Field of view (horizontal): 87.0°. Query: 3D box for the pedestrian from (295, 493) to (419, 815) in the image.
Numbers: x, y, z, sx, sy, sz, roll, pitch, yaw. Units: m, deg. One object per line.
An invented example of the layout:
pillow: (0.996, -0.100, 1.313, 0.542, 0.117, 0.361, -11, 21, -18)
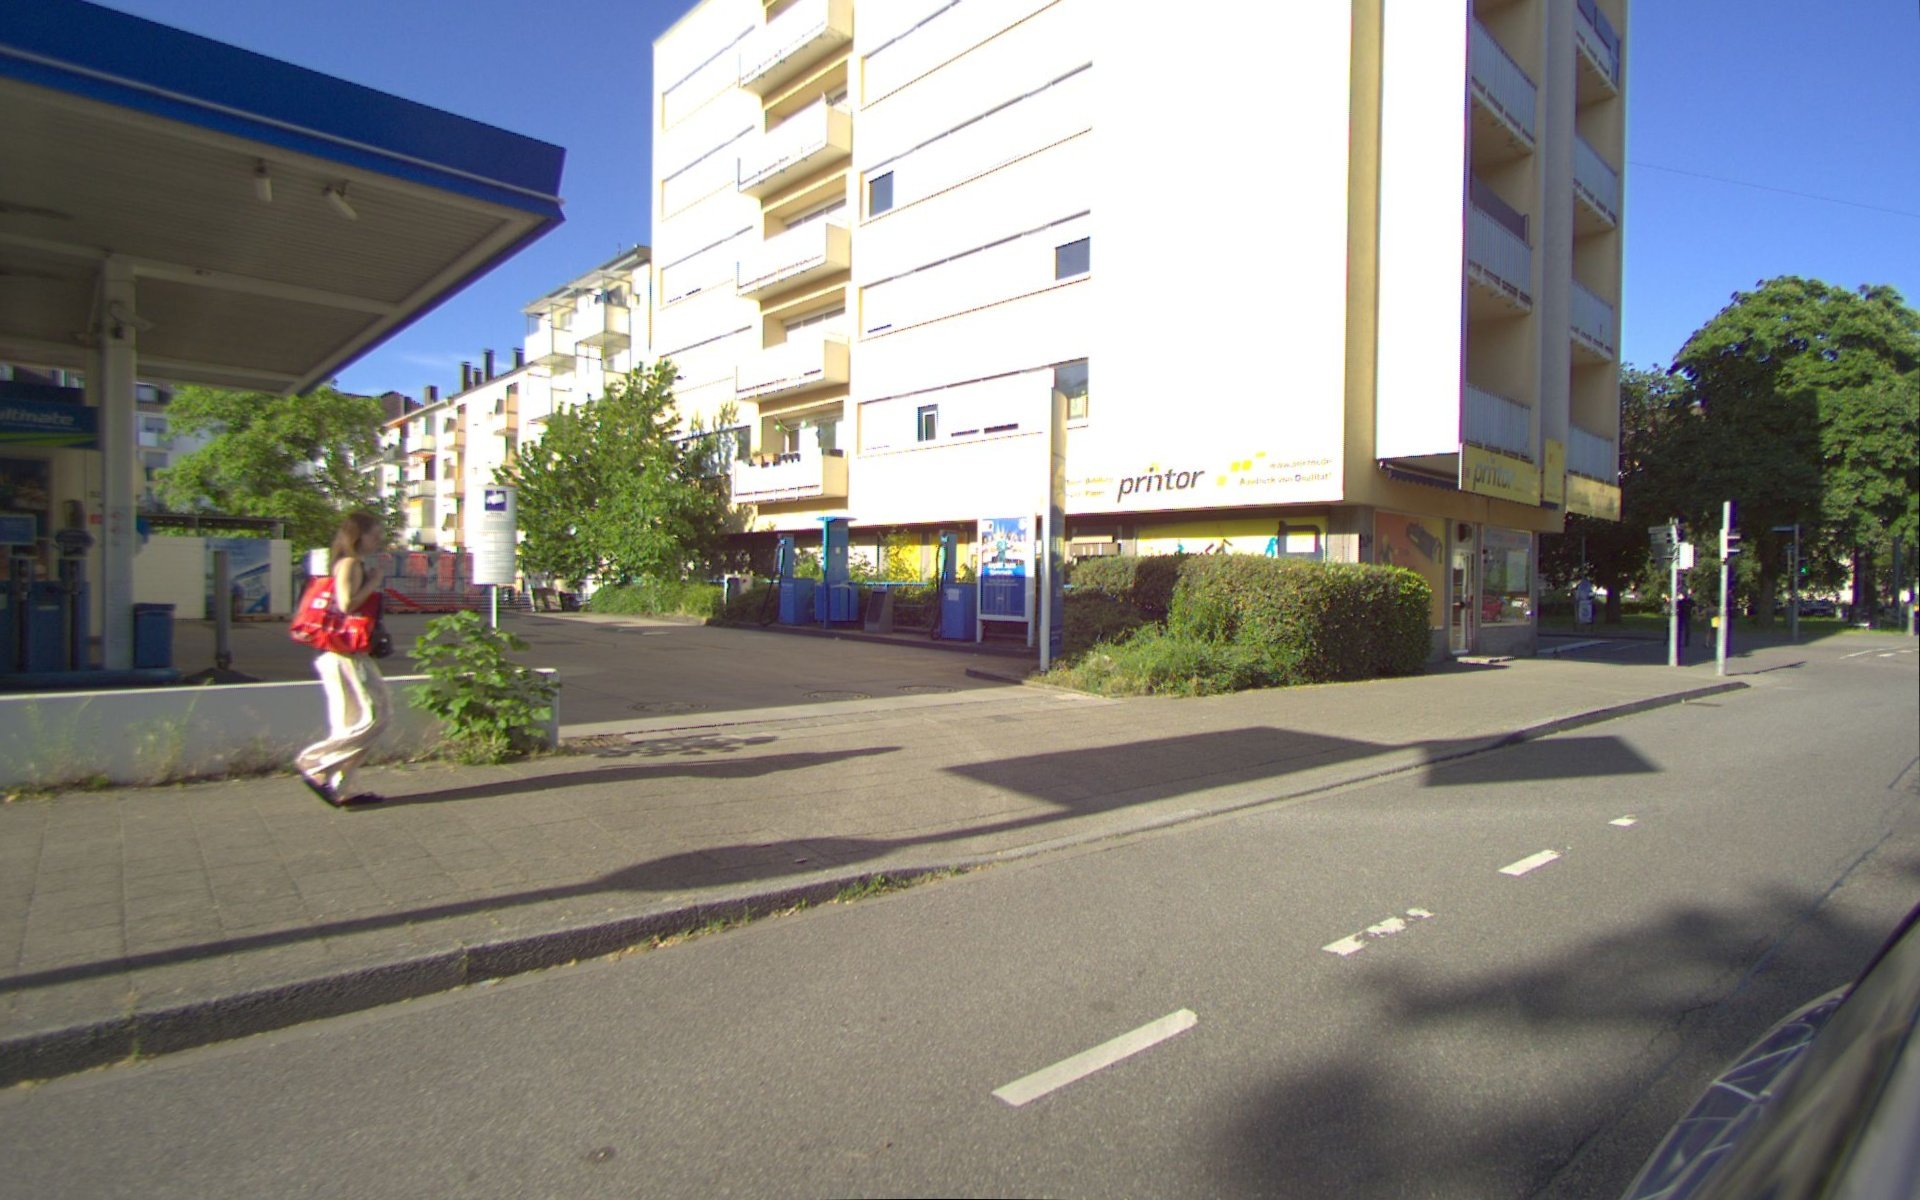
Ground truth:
pedestrian: (-3.477, 0.282, 5.826, 0.542, 1.723, 0.606, 1, 0, -37)

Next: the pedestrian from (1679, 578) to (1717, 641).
pedestrian: (22.771, 0.278, 31.250, 0.784, 1.850, 1.022, 3, 3, 32)

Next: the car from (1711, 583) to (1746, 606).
car: (58.710, -0.450, 77.336, 1.988, 1.720, 4.222, 1, 1, 36)

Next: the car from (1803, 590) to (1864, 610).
car: (61.045, -0.011, 70.728, 4.193, 1.340, 2.002, 0, 1, -31)

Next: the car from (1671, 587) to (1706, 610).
car: (57.270, -0.143, 79.610, 1.985, 1.720, 4.228, 1, 1, 32)

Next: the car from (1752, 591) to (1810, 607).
car: (59.588, -0.103, 73.433, 4.193, 1.080, 2.002, 0, 1, -31)

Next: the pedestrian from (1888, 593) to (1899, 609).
pedestrian: (63.455, 0.047, 68.779, 0.602, 1.092, 0.459, 0, 1, -41)

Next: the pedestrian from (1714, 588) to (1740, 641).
pedestrian: (23.390, 0.426, 30.864, 0.501, 1.565, 0.513, 3, 3, 32)
